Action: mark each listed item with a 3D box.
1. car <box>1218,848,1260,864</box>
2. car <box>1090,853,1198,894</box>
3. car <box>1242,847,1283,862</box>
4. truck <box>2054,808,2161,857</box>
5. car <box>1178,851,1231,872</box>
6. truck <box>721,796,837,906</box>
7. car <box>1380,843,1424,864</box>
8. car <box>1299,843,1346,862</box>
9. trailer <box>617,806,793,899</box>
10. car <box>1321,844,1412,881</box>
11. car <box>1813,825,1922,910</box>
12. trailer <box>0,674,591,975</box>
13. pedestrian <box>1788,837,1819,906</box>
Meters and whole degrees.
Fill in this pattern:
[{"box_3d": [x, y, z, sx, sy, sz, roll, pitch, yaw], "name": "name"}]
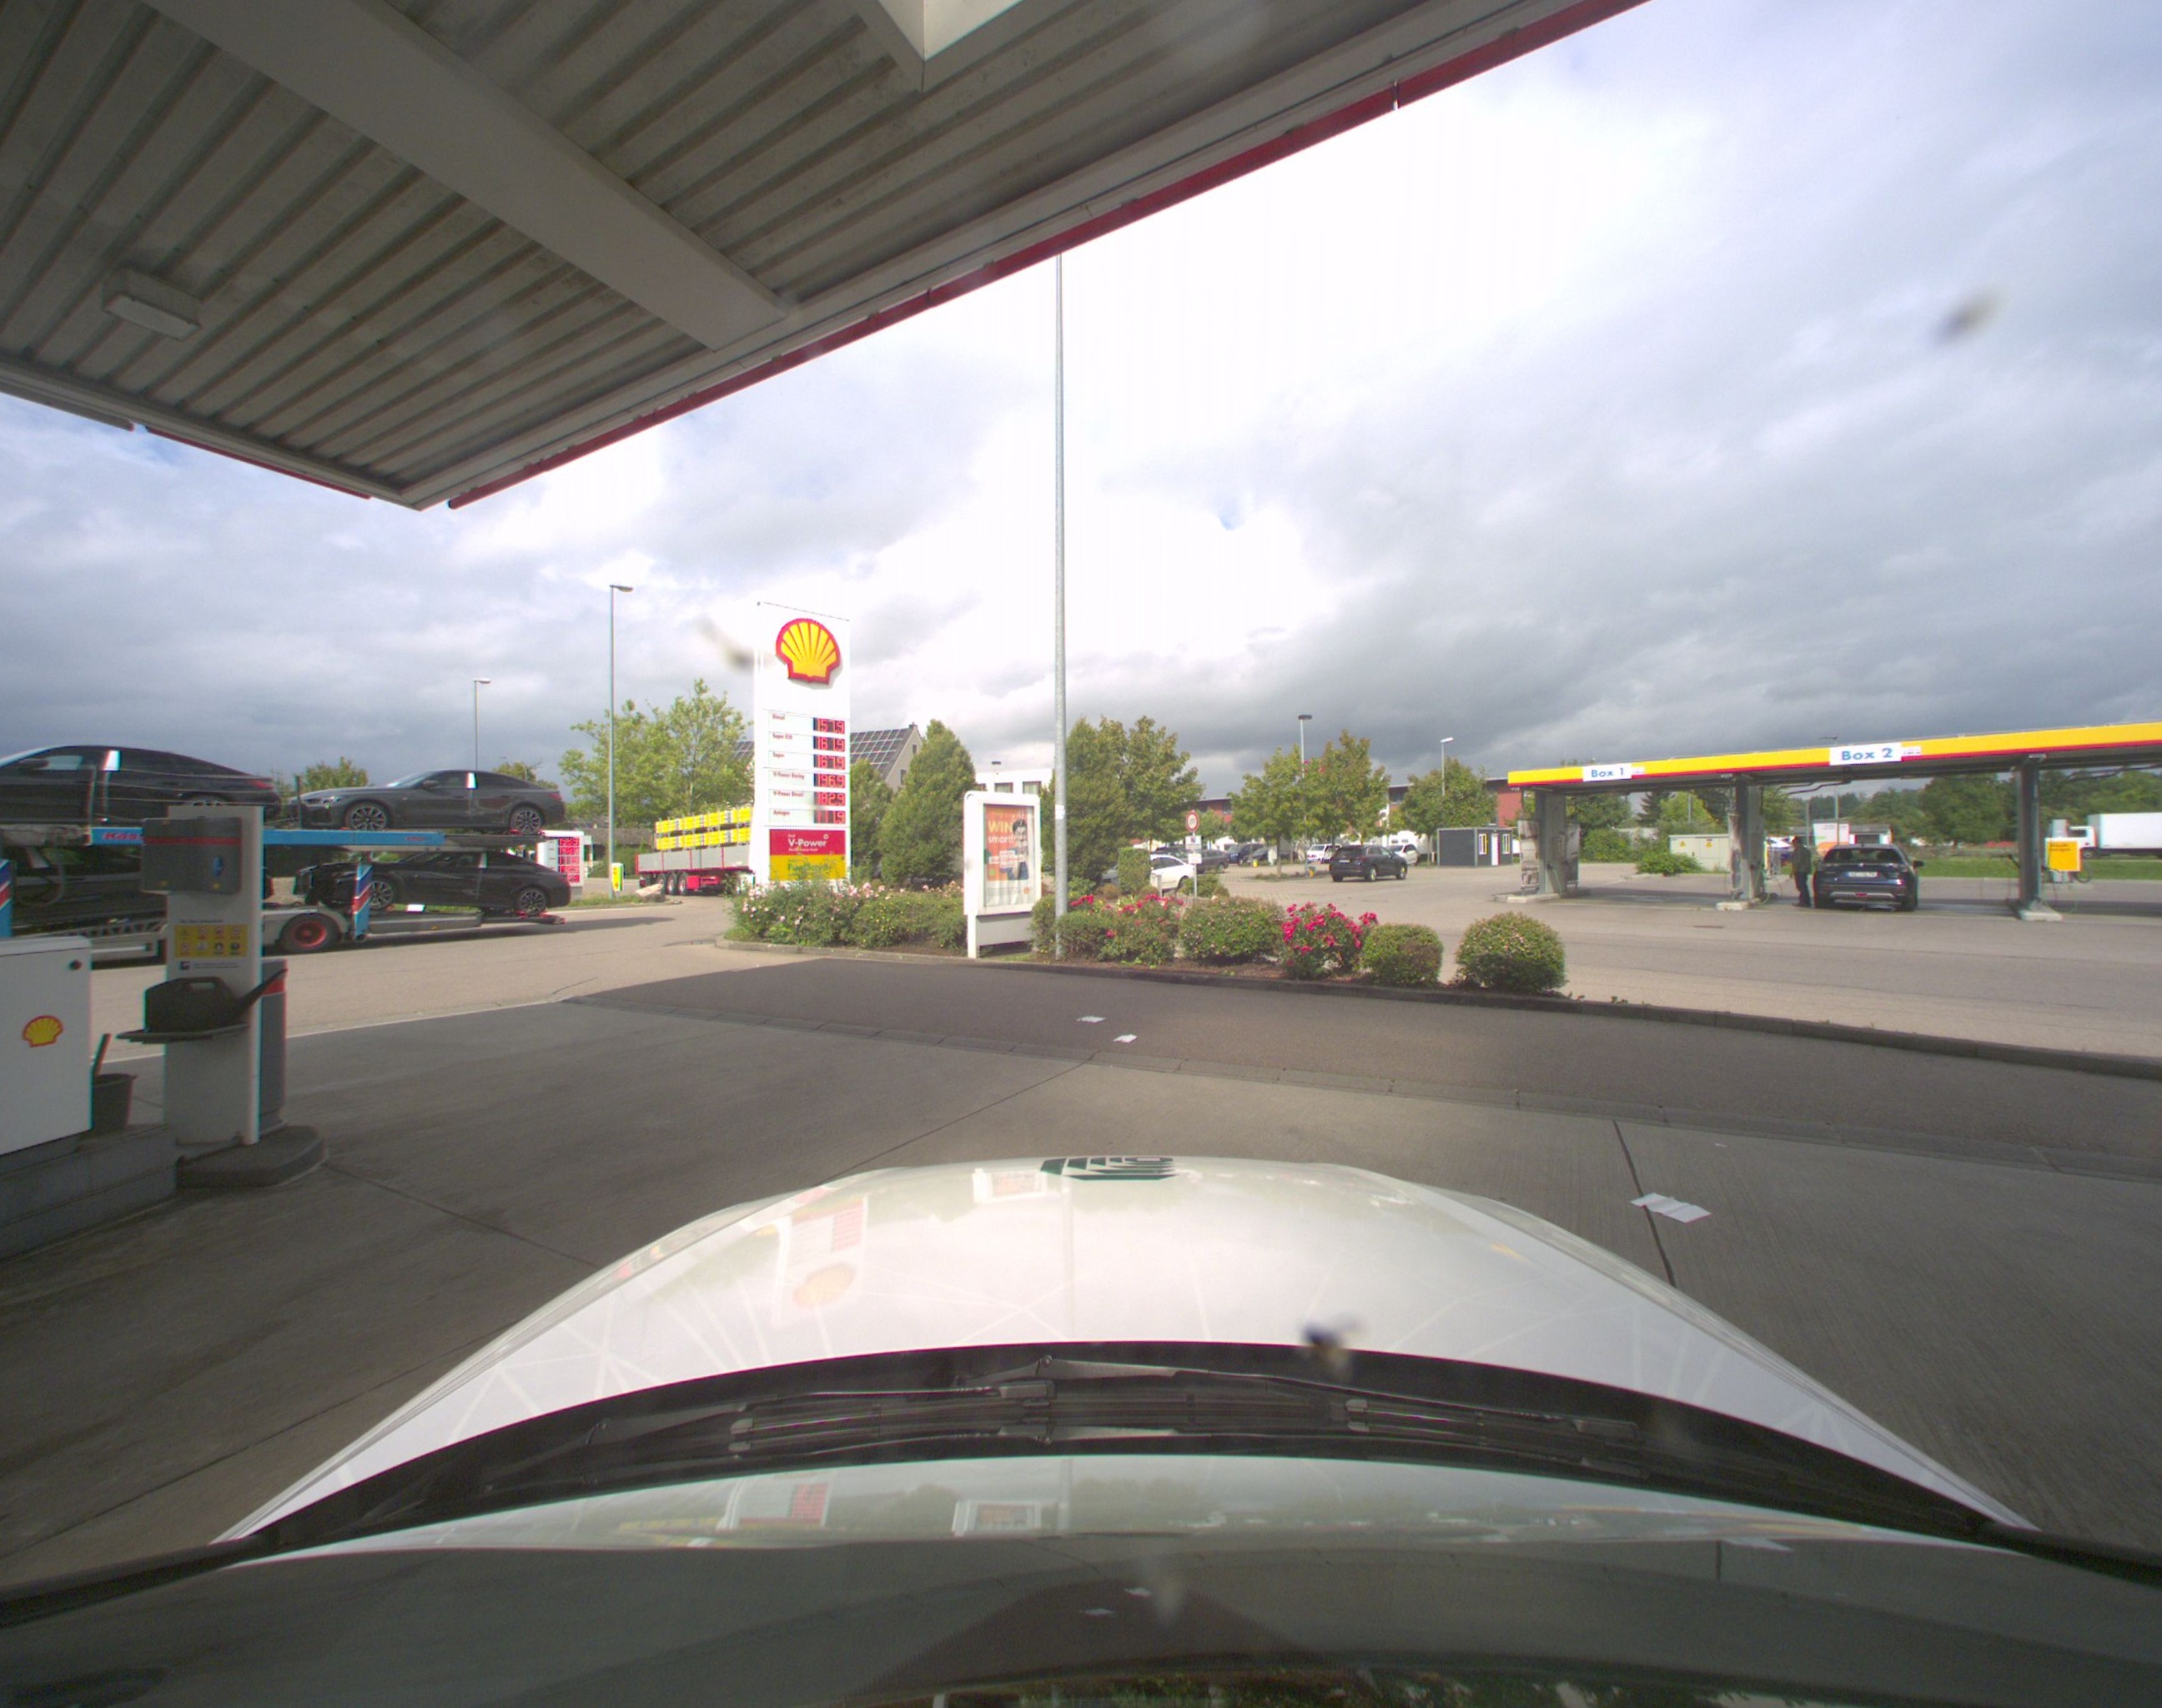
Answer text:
[{"box_3d": [12.945, 0.177, 66.660, 3.407, 1.320, 1.726, 0, -1, -42], "name": "car"}, {"box_3d": [2.390, 0.681, 30.021, 4.368, 1.404, 1.354, 0, -1, -42], "name": "car"}, {"box_3d": [14.487, 0.030, 64.876, 3.437, 1.179, 1.468, 0, -1, -42], "name": "car"}, {"box_3d": [78.226, -1.559, 60.010, 7.989, 3.534, 2.714, -1, -1, 41], "name": "truck"}, {"box_3d": [7.535, 0.445, 49.706, 3.245, 1.228, 1.488, 0, -1, -42], "name": "car"}, {"box_3d": [-11.870, -0.082, 31.695, 2.753, 3.846, 5.854, 0, -1, -36], "name": "truck"}, {"box_3d": [20.603, -0.050, 52.217, 3.120, 1.307, 1.352, 0, -1, -42], "name": "car"}, {"box_3d": [23.868, -0.128, 80.269, 4.903, 1.833, 2.159, 0, -1, -41], "name": "car"}, {"box_3d": [-17.936, 0.014, 38.067, 12.551, 3.776, 2.756, -1, -1, 42], "name": "trailer"}, {"box_3d": [12.872, 0.372, 36.580, 4.527, 1.548, 1.864, 0, -1, -41], "name": "car"}, {"box_3d": [19.435, 0.315, 20.076, 3.828, 1.897, 1.703, 0, -1, -43], "name": "car"}, {"box_3d": [-16.438, -0.415, 13.684, 2.711, 4.423, 14.450, -1, -1, 31], "name": "trailer"}, {"box_3d": [18.248, 0.438, 20.576, 0.551, 1.722, 0.531, -1, -1, 38], "name": "pedestrian"}]
